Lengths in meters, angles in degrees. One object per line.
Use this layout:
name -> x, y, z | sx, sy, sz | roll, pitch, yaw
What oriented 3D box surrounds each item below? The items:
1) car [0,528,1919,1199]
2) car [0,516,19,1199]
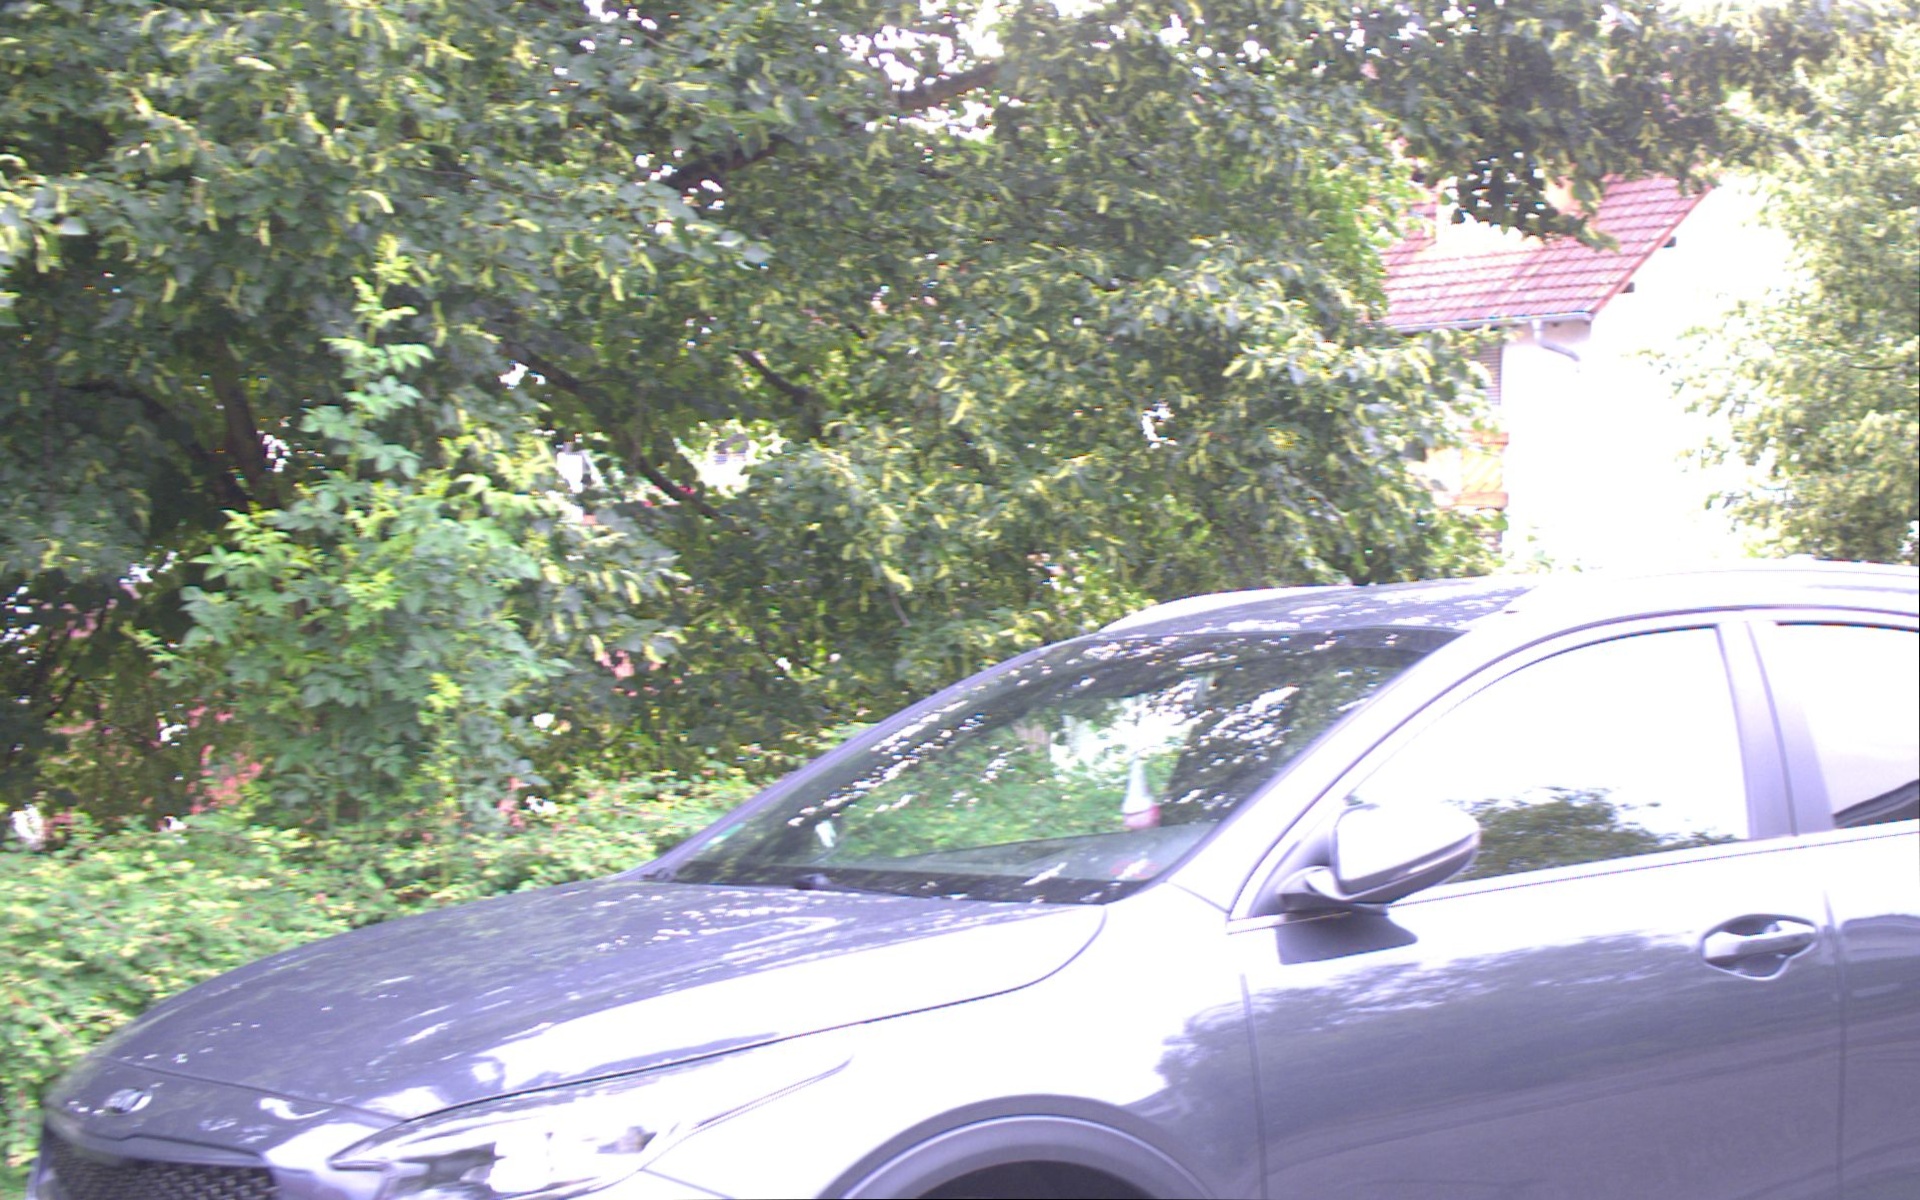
car -> 0.574, 0.680, 5.602 | 4.182, 1.526, 1.747 | -1, -1, -34
car -> -3.185, 0.719, 2.968 | 4.238, 1.526, 1.747 | -1, -1, -39
